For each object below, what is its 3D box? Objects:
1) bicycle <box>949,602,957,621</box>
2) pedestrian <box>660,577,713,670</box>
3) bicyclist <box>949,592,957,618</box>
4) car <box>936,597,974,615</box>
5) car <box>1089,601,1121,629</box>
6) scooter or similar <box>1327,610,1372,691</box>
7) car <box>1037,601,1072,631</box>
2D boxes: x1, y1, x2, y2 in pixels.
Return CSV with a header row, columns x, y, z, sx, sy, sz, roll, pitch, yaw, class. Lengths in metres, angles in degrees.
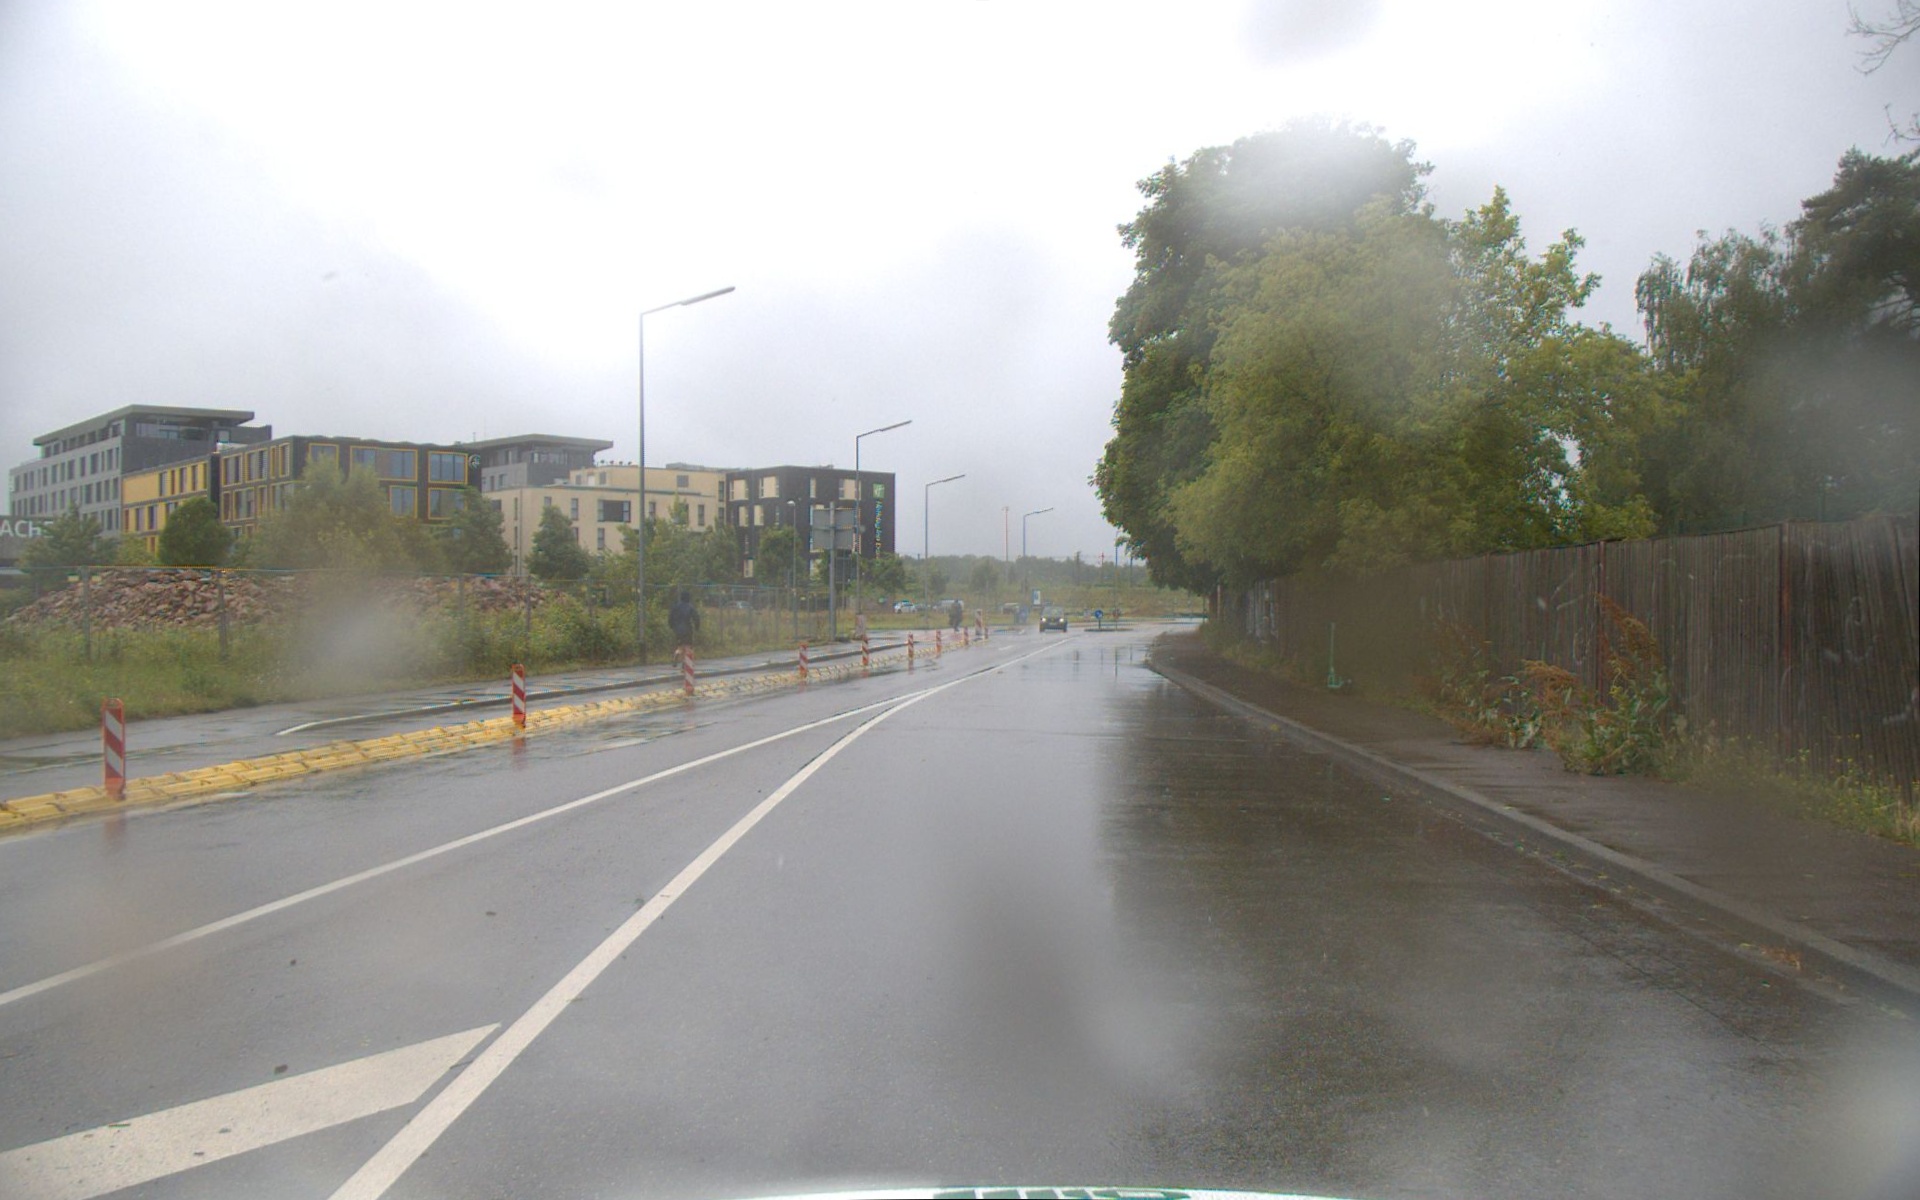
x,y,z,sx,sy,sz,roll,pitch,yaw,class
-0.376,0.648,92.029,0.418,1.037,1.612,1,0,1,bicycle
-6.128,0.534,37.134,0.828,2.049,1.132,0,-3,10,pedestrian
-0.377,0.294,92.171,0.434,1.428,0.550,0,-3,3,bicyclist
-0.596,0.712,186.853,3.958,1.803,1.973,2,-3,-38,car
10.115,1.069,115.332,1.951,1.803,4.002,0,-3,9,car
6.191,0.794,26.340,0.481,1.256,1.371,0,-1,4,scooter or similar
5.871,0.981,102.121,1.951,1.803,4.003,0,0,6,car
